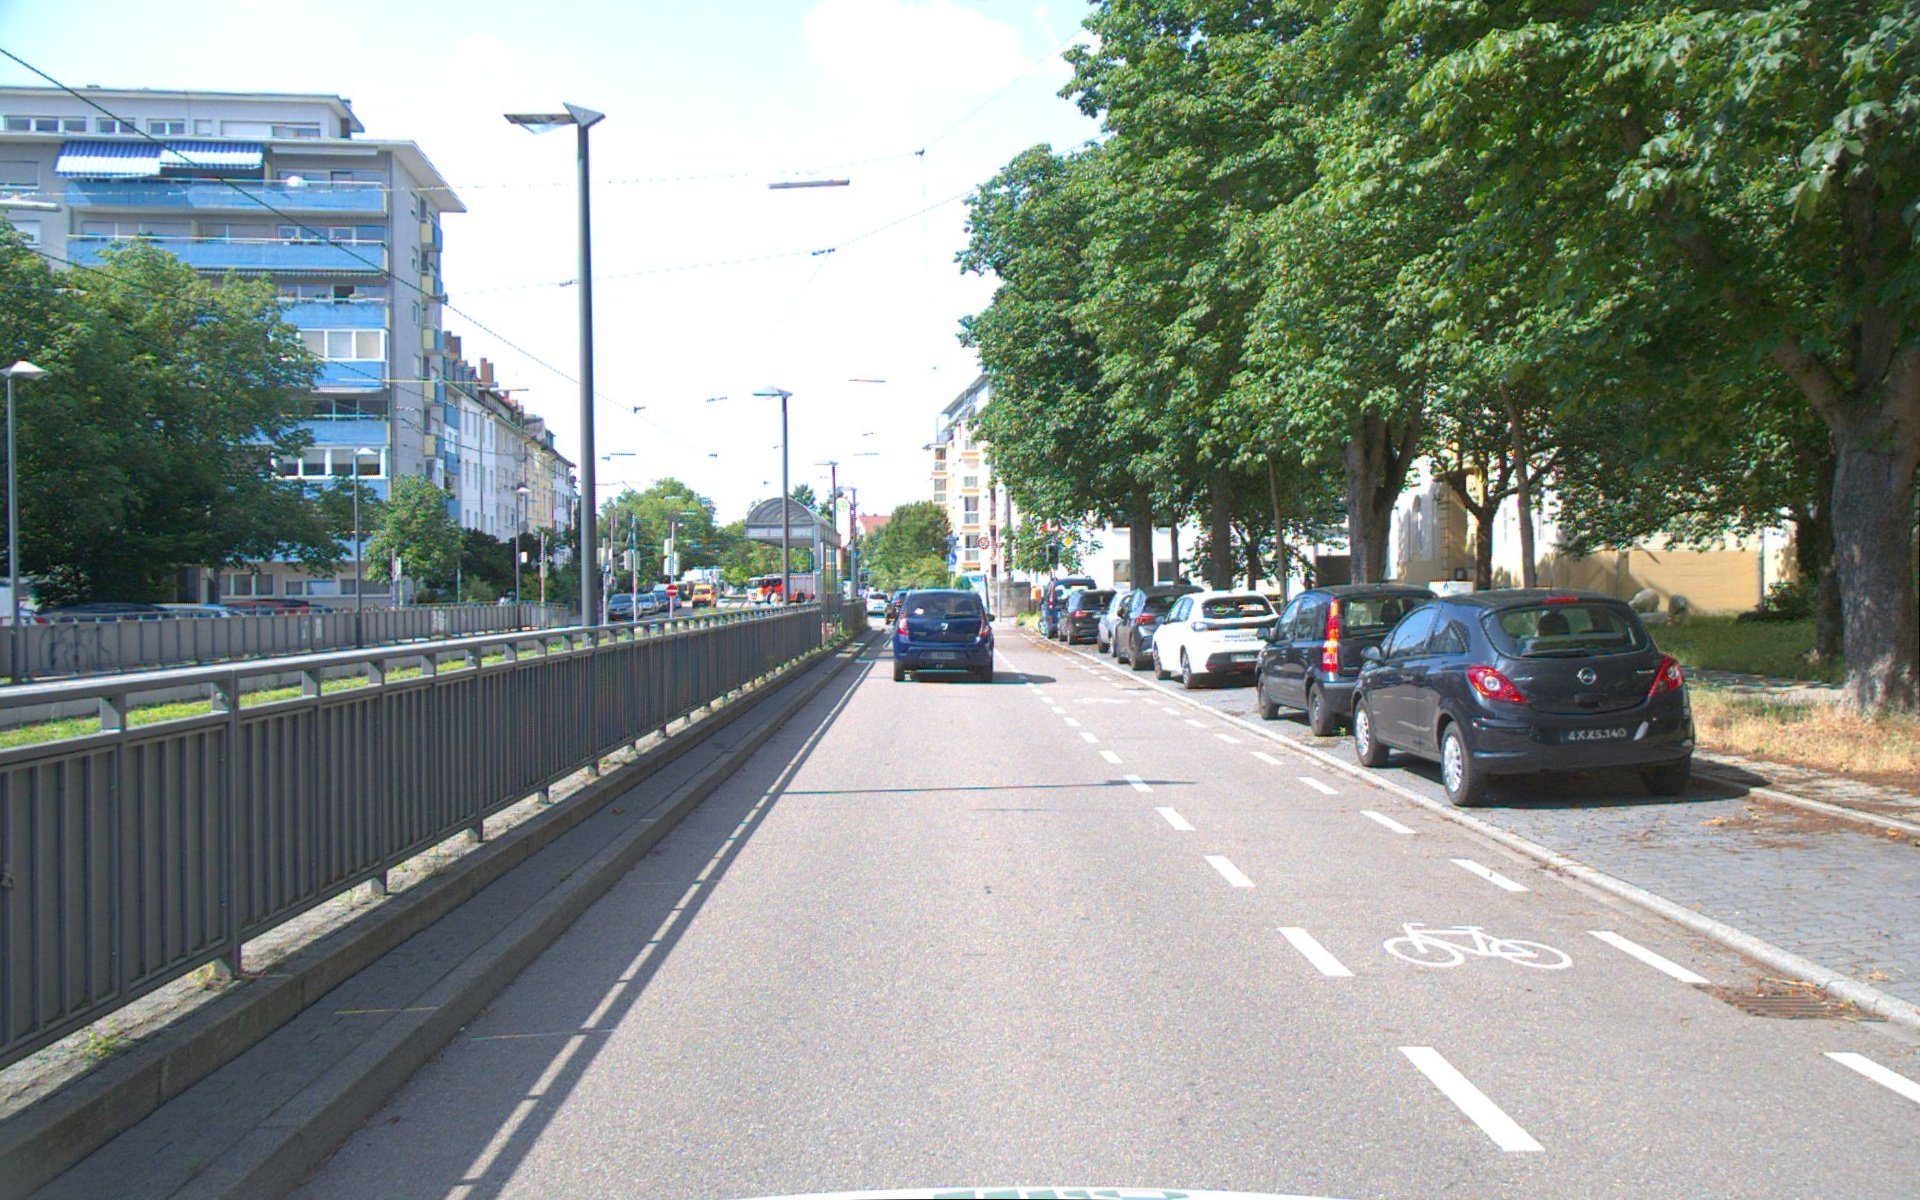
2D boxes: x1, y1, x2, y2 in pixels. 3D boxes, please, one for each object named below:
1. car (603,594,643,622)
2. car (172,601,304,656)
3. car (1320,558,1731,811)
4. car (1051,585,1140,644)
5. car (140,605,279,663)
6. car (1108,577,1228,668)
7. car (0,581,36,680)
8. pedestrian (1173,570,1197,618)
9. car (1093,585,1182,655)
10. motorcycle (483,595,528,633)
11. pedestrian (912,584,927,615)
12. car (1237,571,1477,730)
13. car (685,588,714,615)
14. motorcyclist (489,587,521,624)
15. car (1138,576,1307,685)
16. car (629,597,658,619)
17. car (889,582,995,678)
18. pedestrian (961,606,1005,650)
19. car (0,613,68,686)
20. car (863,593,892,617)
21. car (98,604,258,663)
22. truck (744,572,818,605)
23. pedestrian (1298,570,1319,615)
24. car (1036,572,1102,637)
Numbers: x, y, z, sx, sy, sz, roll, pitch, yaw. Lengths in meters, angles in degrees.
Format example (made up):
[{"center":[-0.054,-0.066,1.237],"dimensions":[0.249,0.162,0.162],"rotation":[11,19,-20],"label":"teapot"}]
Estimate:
[{"center":[-20.654,0.505,101.565],"dimensions":[1.955,1.674,3.996],"rotation":[1,0,-5],"label":"car"},{"center":[-22.743,0.883,52.145],"dimensions":[3.620,1.607,1.631],"rotation":[-1,1,-32],"label":"car"},{"center":[4.272,0.553,13.269],"dimensions":[1.657,1.588,4.306],"rotation":[-4,0,-1],"label":"car"},{"center":[3.815,0.373,47.210],"dimensions":[1.879,1.467,4.794],"rotation":[-3,1,-2],"label":"car"},{"center":[-22.523,0.984,49.670],"dimensions":[3.620,1.607,1.631],"rotation":[-1,1,-32],"label":"car"},{"center":[4.045,0.400,32.800],"dimensions":[1.690,1.611,4.676],"rotation":[-2,0,-1],"label":"car"},{"center":[-22.117,0.688,35.468],"dimensions":[3.902,2.106,2.027],"rotation":[-1,1,-33],"label":"car"},{"center":[8.306,-0.233,61.041],"dimensions":[0.729,1.726,0.767],"rotation":[-1,0,-1],"label":"pedestrian"},{"center":[4.061,0.431,38.213],"dimensions":[1.558,1.470,3.597],"rotation":[-3,0,-1],"label":"car"},{"center":[-17.104,0.527,62.300],"dimensions":[0.994,1.362,2.517],"rotation":[-1,0,-1],"label":"motorcycle"},{"center":[-2.461,-0.008,100.397],"dimensions":[0.687,1.820,1.029],"rotation":[-4,0,-5],"label":"pedestrian"},{"center":[4.311,0.521,18.467],"dimensions":[1.525,1.486,3.555],"rotation":[-4,0,-4],"label":"car"},{"center":[-24.589,0.117,156.228],"dimensions":[1.962,2.315,4.811],"rotation":[3,0,-17],"label":"car"},{"center":[-17.130,0.209,62.320],"dimensions":[0.919,1.362,0.986],"rotation":[-1,0,-1],"label":"motorcyclist"},{"center":[4.215,0.454,27.204],"dimensions":[1.799,1.550,4.250],"rotation":[-3,0,-4],"label":"car"},{"center":[-22.459,0.568,117.454],"dimensions":[1.734,1.467,3.994],"rotation":[1,0,-7],"label":"car"},{"center":[-0.350,0.493,28.760],"dimensions":[1.709,1.533,3.998],"rotation":[1,0,-2],"label":"car"},{"center":[1.073,1.327,79.342],"dimensions":[1.953,2.049,3.999],"rotation":[1,0,-1],"label":"pedestrian"},{"center":[-22.803,1.166,38.015],"dimensions":[3.903,1.607,1.699],"rotation":[-1,1,-34],"label":"car"},{"center":[-5.115,0.311,102.283],"dimensions":[1.591,1.490,3.506],"rotation":[1,0,-6],"label":"car"},{"center":[-22.230,0.931,47.074],"dimensions":[3.975,1.540,1.592],"rotation":[-1,0,-31],"label":"car"},{"center":[-19.717,-1.264,182.219],"dimensions":[2.560,3.241,8.327],"rotation":[-3,0,44],"label":"truck"},{"center":[12.789,-0.261,60.691],"dimensions":[0.619,1.624,0.539],"rotation":[-1,0,-4],"label":"pedestrian"},{"center":[3.415,0.099,52.557],"dimensions":[1.785,1.929,4.184],"rotation":[-2,1,0],"label":"car"}]
